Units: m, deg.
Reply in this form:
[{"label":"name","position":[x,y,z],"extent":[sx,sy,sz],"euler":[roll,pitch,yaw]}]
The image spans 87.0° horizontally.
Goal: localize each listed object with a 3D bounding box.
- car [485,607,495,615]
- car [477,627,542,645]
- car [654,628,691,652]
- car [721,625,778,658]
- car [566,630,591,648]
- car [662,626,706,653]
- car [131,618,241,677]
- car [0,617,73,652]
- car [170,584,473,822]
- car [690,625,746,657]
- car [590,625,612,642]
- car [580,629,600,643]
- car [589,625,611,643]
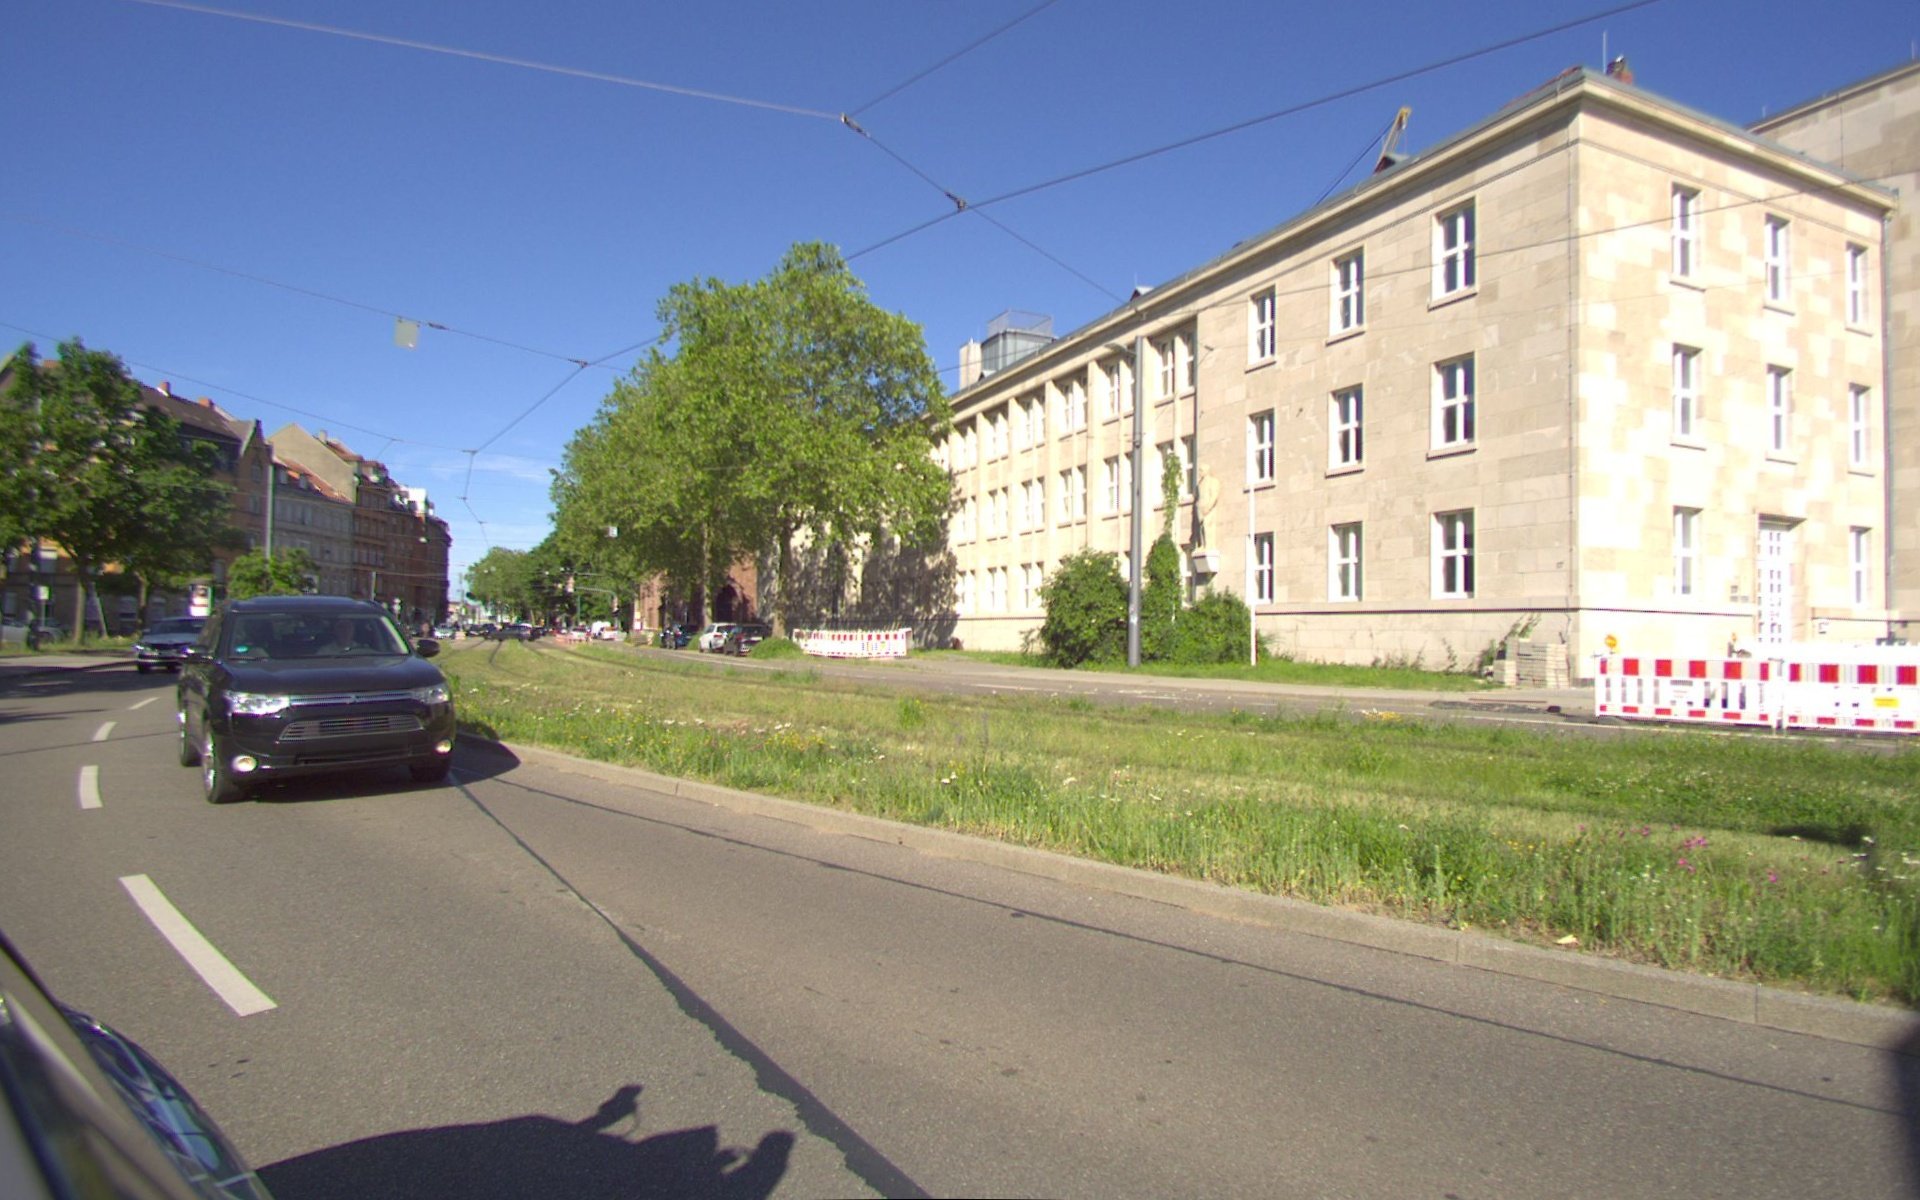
[{"label":"car","position":[-93.473,2.115,201.390],"extent":[1.767,1.440,4.390],"euler":[1,-2,-24]},{"label":"car","position":[-39.444,3.162,88.615],"extent":[4.900,1.464,1.832],"euler":[1,-3,7]},{"label":"car","position":[-19.953,2.739,70.134],"extent":[1.648,1.559,4.203],"euler":[2,-2,-26]},{"label":"car","position":[-9.993,1.958,47.844],"extent":[1.804,1.504,4.195],"euler":[1,-2,-24]},{"label":"car","position":[-32.448,3.288,85.979],"extent":[1.804,1.464,4.184],"euler":[2,-3,-23]},{"label":"car","position":[-17.583,2.512,64.356],"extent":[1.804,1.651,4.410],"euler":[1,-2,-26]},{"label":"car","position":[-23.127,1.385,30.416],"extent":[1.771,1.648,4.408],"euler":[1,-2,-26]},{"label":"car","position":[-42.021,1.455,43.951],"extent":[2.014,1.446,4.826],"euler":[0,-4,32]},{"label":"car","position":[-6.234,0.782,9.606],"extent":[1.813,1.695,4.650],"euler":[1,-2,-40]},{"label":"car","position":[-12.882,2.165,53.743],"extent":[1.804,1.600,4.409],"euler":[3,-3,-27]},{"label":"car","position":[-39.252,3.677,110.551],"extent":[1.750,1.586,3.688],"euler":[2,-5,-27]},{"label":"car","position":[-41.944,4.065,114.762],"extent":[1.765,1.563,3.872],"euler":[2,-2,-25]},{"label":"car","position":[-42.750,4.020,120.161],"extent":[1.889,2.113,4.607],"euler":[2,-2,-26]}]
